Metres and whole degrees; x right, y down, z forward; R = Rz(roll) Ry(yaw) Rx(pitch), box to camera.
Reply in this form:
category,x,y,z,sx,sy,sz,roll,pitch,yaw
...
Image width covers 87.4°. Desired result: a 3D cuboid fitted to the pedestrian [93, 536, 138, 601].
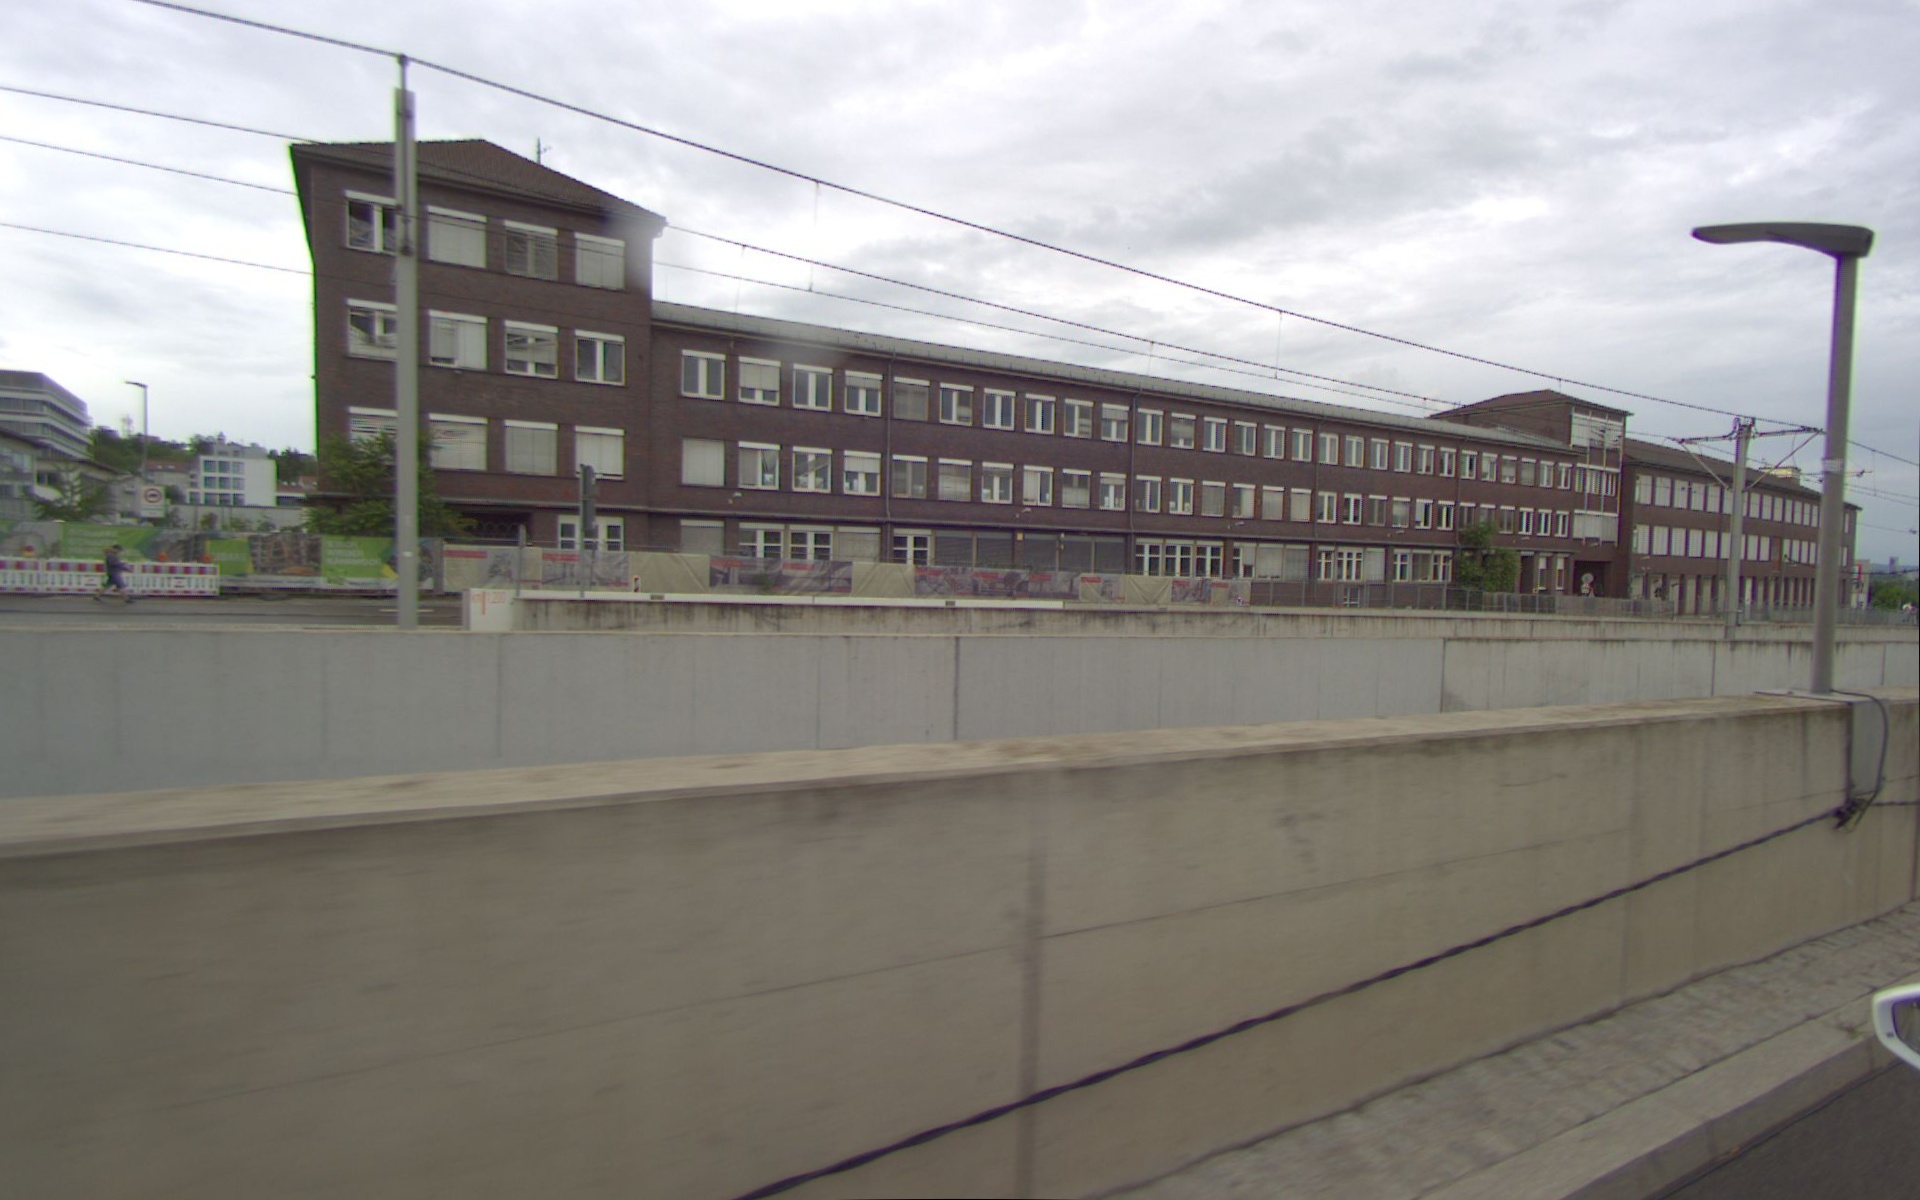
category,x,y,z,sx,sy,sz,roll,pitch,yaw
pedestrian,-23.481,-0.873,27.937,0.830,1.774,0.612,1,2,-30

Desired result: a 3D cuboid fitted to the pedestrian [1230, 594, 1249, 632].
category,x,y,z,sx,sy,sz,roll,pitch,yaw
pedestrian,15.169,0.721,54.527,0.645,2.040,0.667,1,1,-32
